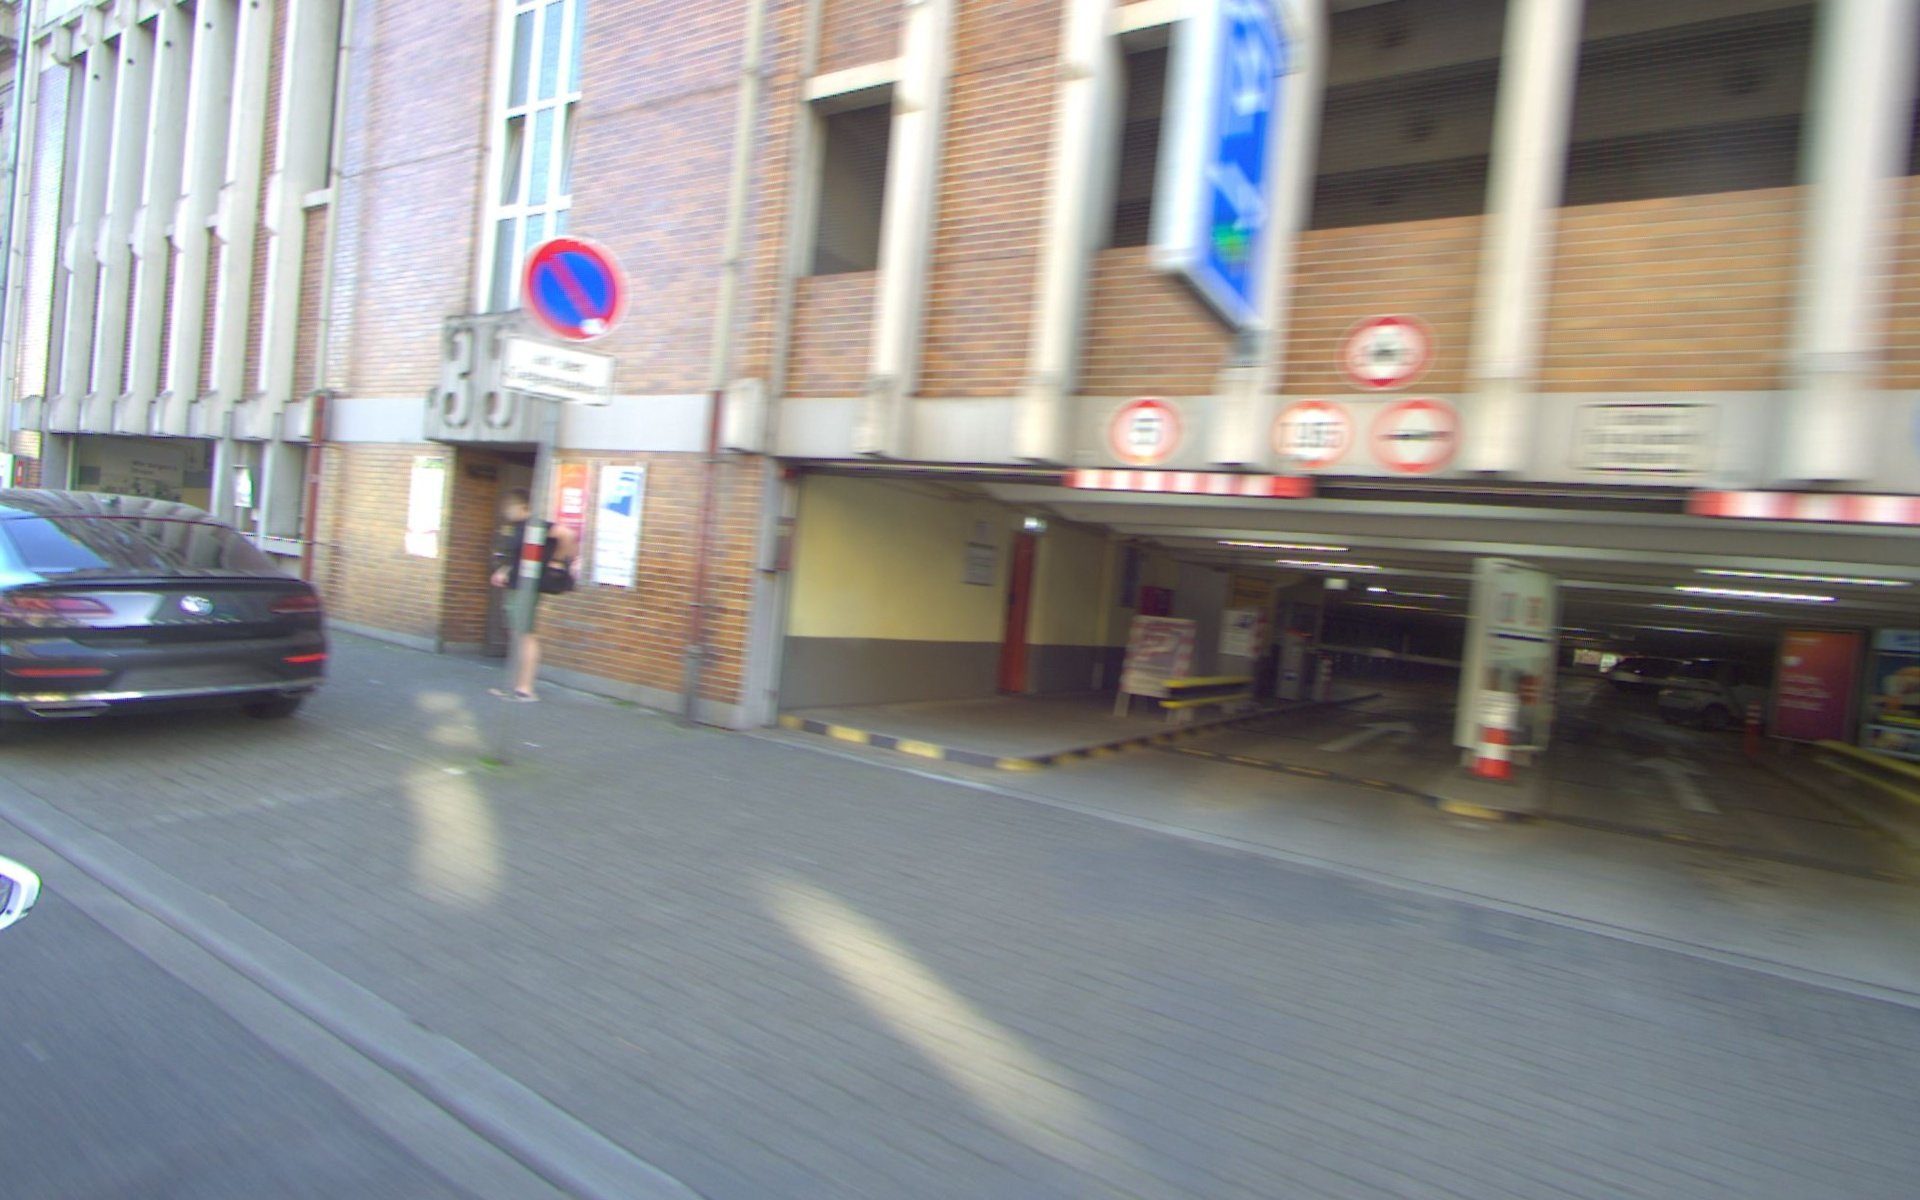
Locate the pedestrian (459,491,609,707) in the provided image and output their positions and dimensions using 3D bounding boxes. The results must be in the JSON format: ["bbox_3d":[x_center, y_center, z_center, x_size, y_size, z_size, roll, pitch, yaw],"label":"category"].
[{"bbox_3d":[-3.545,-0.023,8.368,0.874,1.658,0.691,7,4,31],"label":"pedestrian"}]

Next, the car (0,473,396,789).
[{"bbox_3d":[-6.178,-0.073,6.929,4.883,1.500,1.916,7,5,32],"label":"car"}]

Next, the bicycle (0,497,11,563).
[{"bbox_3d":[-16.395,-1.222,16.776,1.761,1.059,0.358,7,4,32],"label":"bicycle"}]
